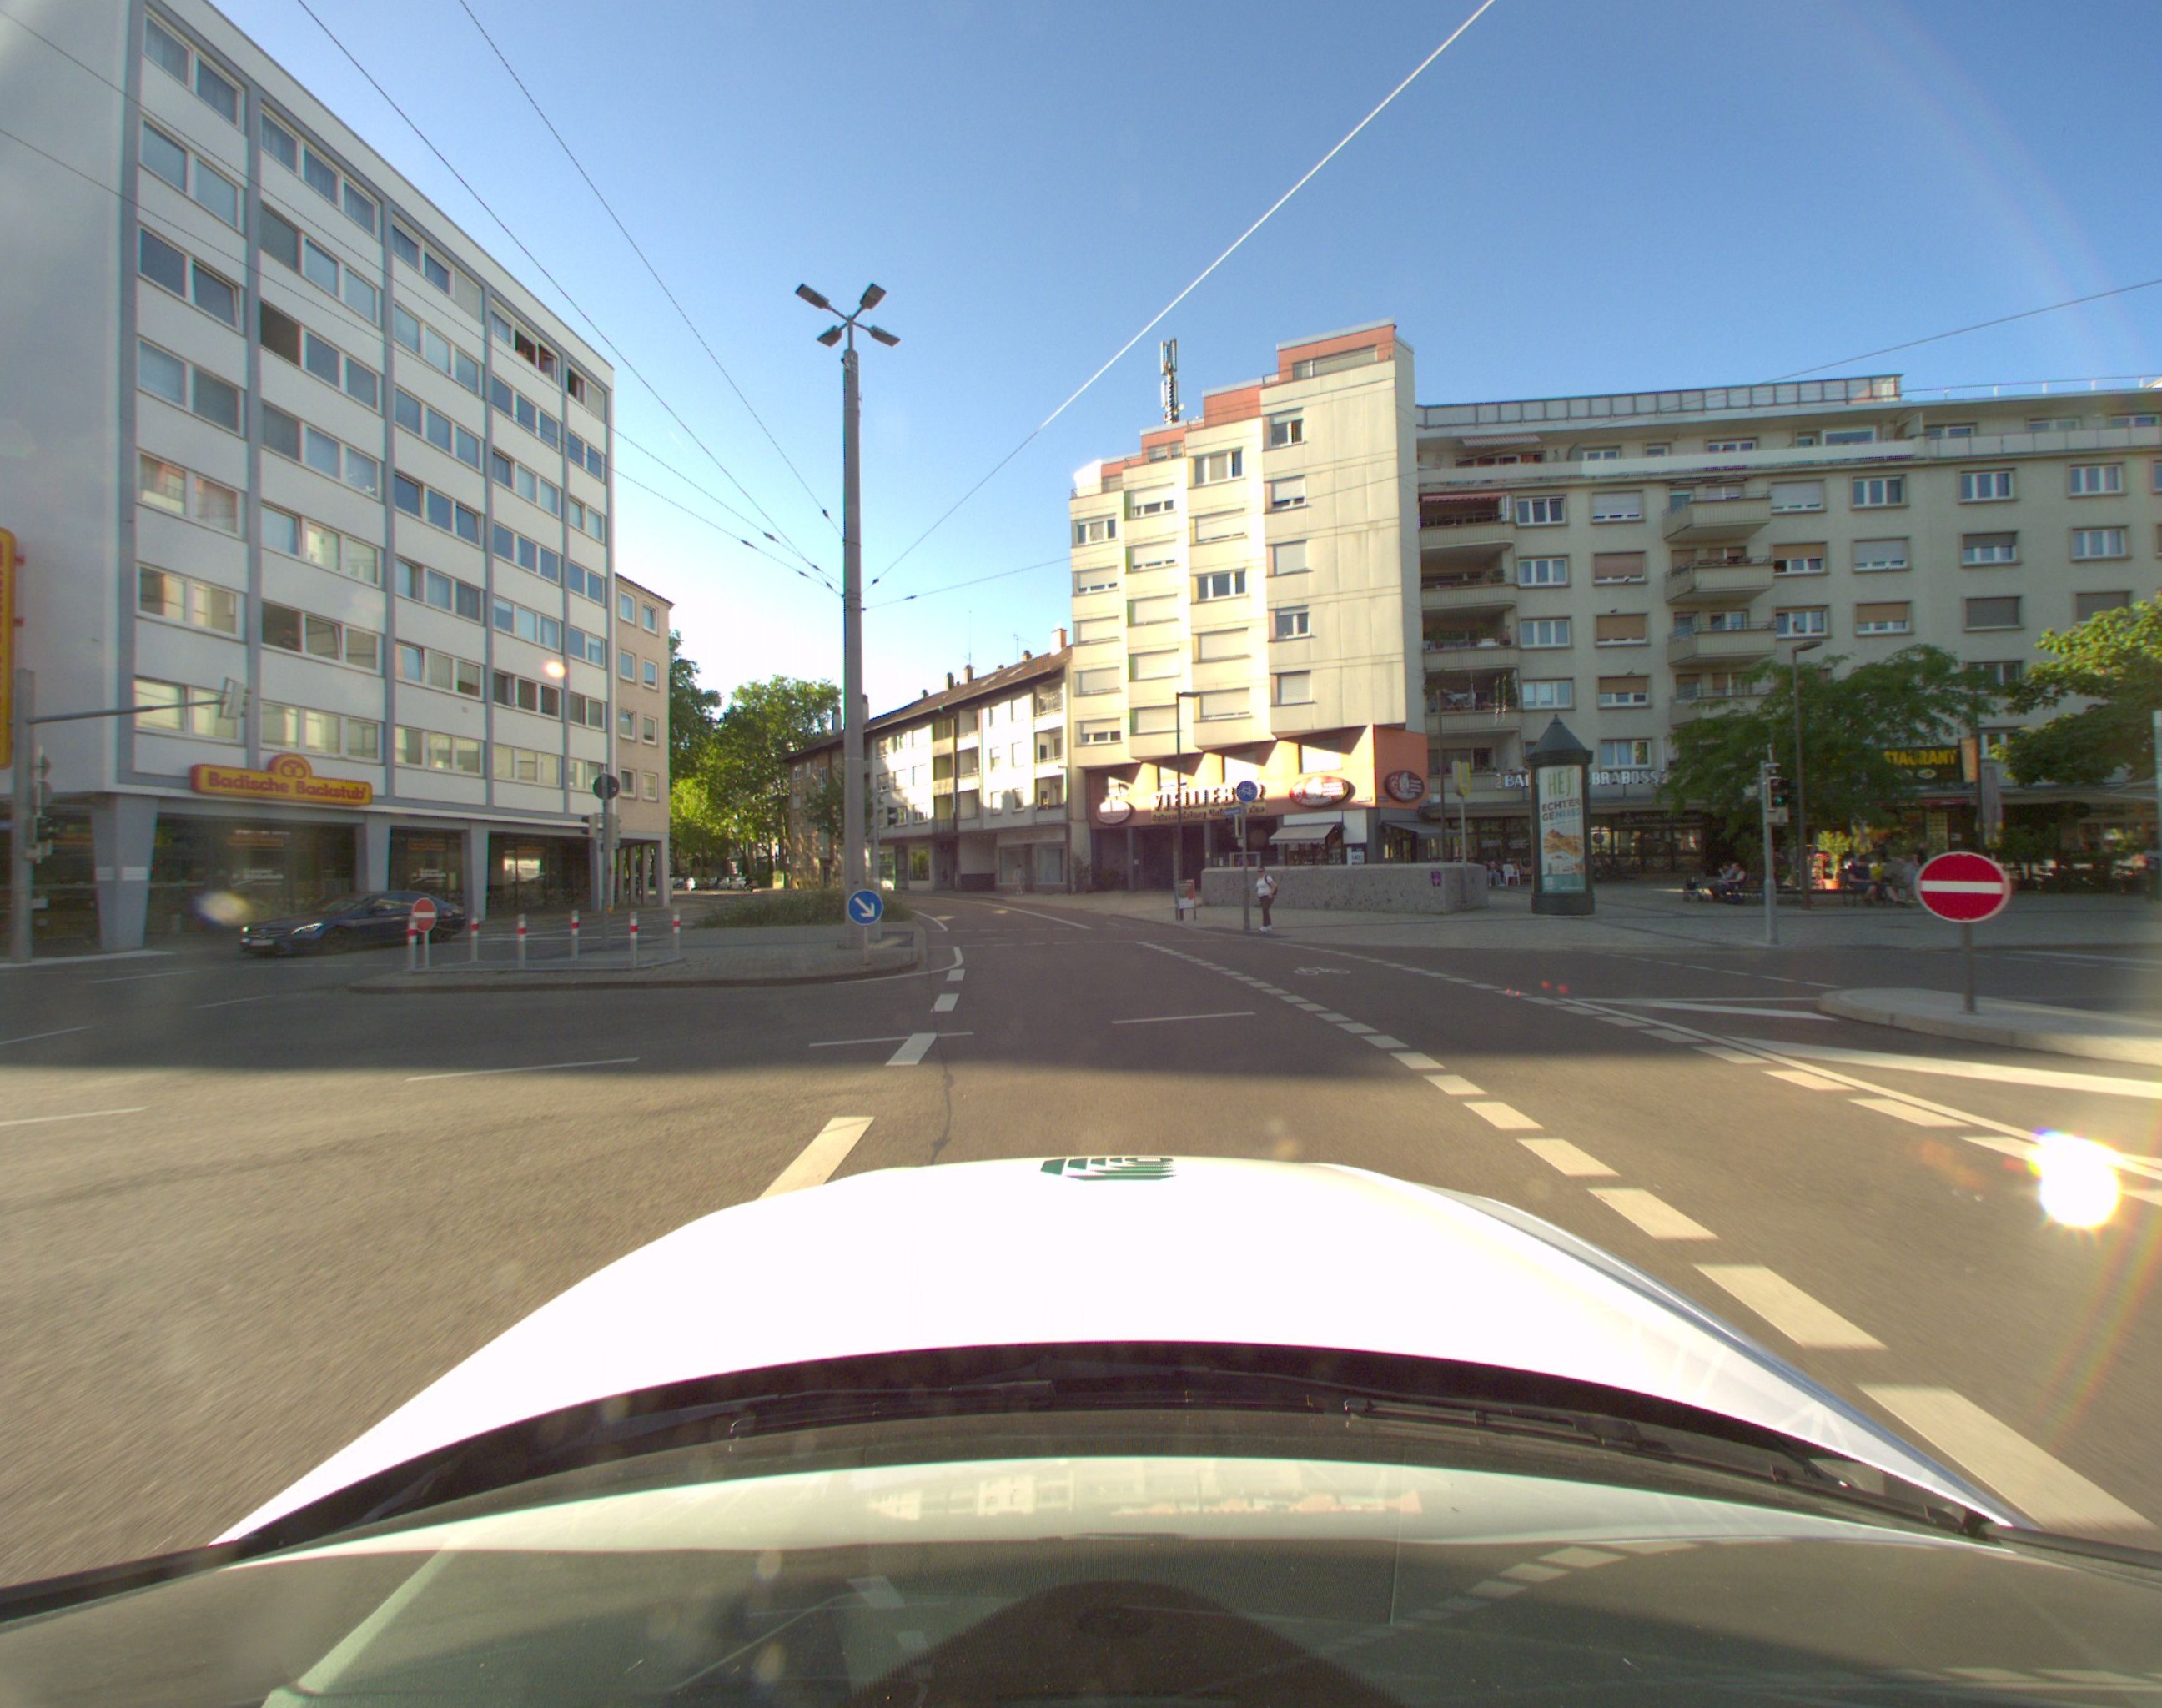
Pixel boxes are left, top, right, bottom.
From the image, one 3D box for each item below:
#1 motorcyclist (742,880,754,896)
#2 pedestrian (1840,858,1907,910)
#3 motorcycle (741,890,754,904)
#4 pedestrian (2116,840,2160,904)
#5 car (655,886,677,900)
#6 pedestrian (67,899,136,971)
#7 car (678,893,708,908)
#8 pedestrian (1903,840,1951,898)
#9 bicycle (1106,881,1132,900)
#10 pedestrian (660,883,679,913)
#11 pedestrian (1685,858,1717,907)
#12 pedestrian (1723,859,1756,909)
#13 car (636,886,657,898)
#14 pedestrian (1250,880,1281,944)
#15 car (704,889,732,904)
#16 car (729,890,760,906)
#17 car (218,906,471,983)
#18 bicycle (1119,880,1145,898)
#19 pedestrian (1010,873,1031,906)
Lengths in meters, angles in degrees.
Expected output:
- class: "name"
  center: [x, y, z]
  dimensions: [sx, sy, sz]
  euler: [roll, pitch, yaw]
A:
- class: "motorcyclist"
  center: [-29.373, 2.998, 71.801]
  dimensions: [0.974, 1.347, 1.130]
  euler: [0, 0, -21]
- class: "pedestrian"
  center: [21.440, 0.793, 22.062]
  dimensions: [0.717, 1.365, 1.107]
  euler: [-1, 0, -3]
- class: "motorcycle"
  center: [-29.330, 3.757, 71.689]
  dimensions: [0.976, 1.132, 2.786]
  euler: [0, 0, -20]
- class: "pedestrian"
  center: [27.966, 0.466, 21.550]
  dimensions: [0.472, 1.671, 0.507]
  euler: [-1, -1, 8]
- class: "car"
  center: [-60.489, 5.669, 118.667]
  dimensions: [2.050, 1.934, 4.045]
  euler: [0, -2, -40]
- class: "pedestrian"
  center: [-24.414, 2.008, 20.305]
  dimensions: [0.801, 1.724, 0.777]
  euler: [-1, -1, 6]
- class: "car"
  center: [-41.453, 4.968, 86.984]
  dimensions: [1.939, 1.388, 3.954]
  euler: [-1, 0, -39]
- class: "pedestrian"
  center: [26.086, 0.468, 25.120]
  dimensions: [0.679, 1.746, 0.716]
  euler: [-1, -1, -5]
- class: "bicycle"
  center: [2.181, 2.110, 46.824]
  dimensions: [0.498, 1.038, 1.619]
  euler: [0, -2, -39]
- class: "pedestrian"
  center: [-24.551, 2.639, 48.618]
  dimensions: [0.812, 1.724, 0.767]
  euler: [0, -1, -43]
- class: "pedestrian"
  center: [19.116, 0.859, 25.107]
  dimensions: [0.711, 1.446, 0.935]
  euler: [-1, 0, 40]
- class: "pedestrian"
  center: [19.450, 0.870, 24.054]
  dimensions: [0.711, 1.420, 0.935]
  euler: [-1, 0, 37]
- class: "car"
  center: [-68.021, 5.995, 127.424]
  dimensions: [2.050, 1.742, 4.045]
  euler: [0, -2, -40]
- class: "pedestrian"
  center: [4.769, 1.485, 21.043]
  dimensions: [0.543, 1.583, 0.551]
  euler: [-1, -1, -38]
- class: "car"
  center: [-44.405, 5.199, 99.578]
  dimensions: [2.050, 1.617, 4.046]
  euler: [-1, 0, -40]
- class: "car"
  center: [-37.448, 4.878, 90.649]
  dimensions: [2.050, 1.504, 4.046]
  euler: [-1, 0, -40]
- class: "car"
  center: [-17.623, 2.097, 19.873]
  dimensions: [1.825, 1.386, 4.599]
  euler: [-1, -1, 2]
- class: "bicycle"
  center: [2.963, 2.023, 47.258]
  dimensions: [0.498, 1.038, 1.619]
  euler: [0, -2, -39]
- class: "pedestrian"
  center: [-3.558, 2.065, 47.685]
  dimensions: [0.737, 1.854, 0.937]
  euler: [-4, 1, -40]
